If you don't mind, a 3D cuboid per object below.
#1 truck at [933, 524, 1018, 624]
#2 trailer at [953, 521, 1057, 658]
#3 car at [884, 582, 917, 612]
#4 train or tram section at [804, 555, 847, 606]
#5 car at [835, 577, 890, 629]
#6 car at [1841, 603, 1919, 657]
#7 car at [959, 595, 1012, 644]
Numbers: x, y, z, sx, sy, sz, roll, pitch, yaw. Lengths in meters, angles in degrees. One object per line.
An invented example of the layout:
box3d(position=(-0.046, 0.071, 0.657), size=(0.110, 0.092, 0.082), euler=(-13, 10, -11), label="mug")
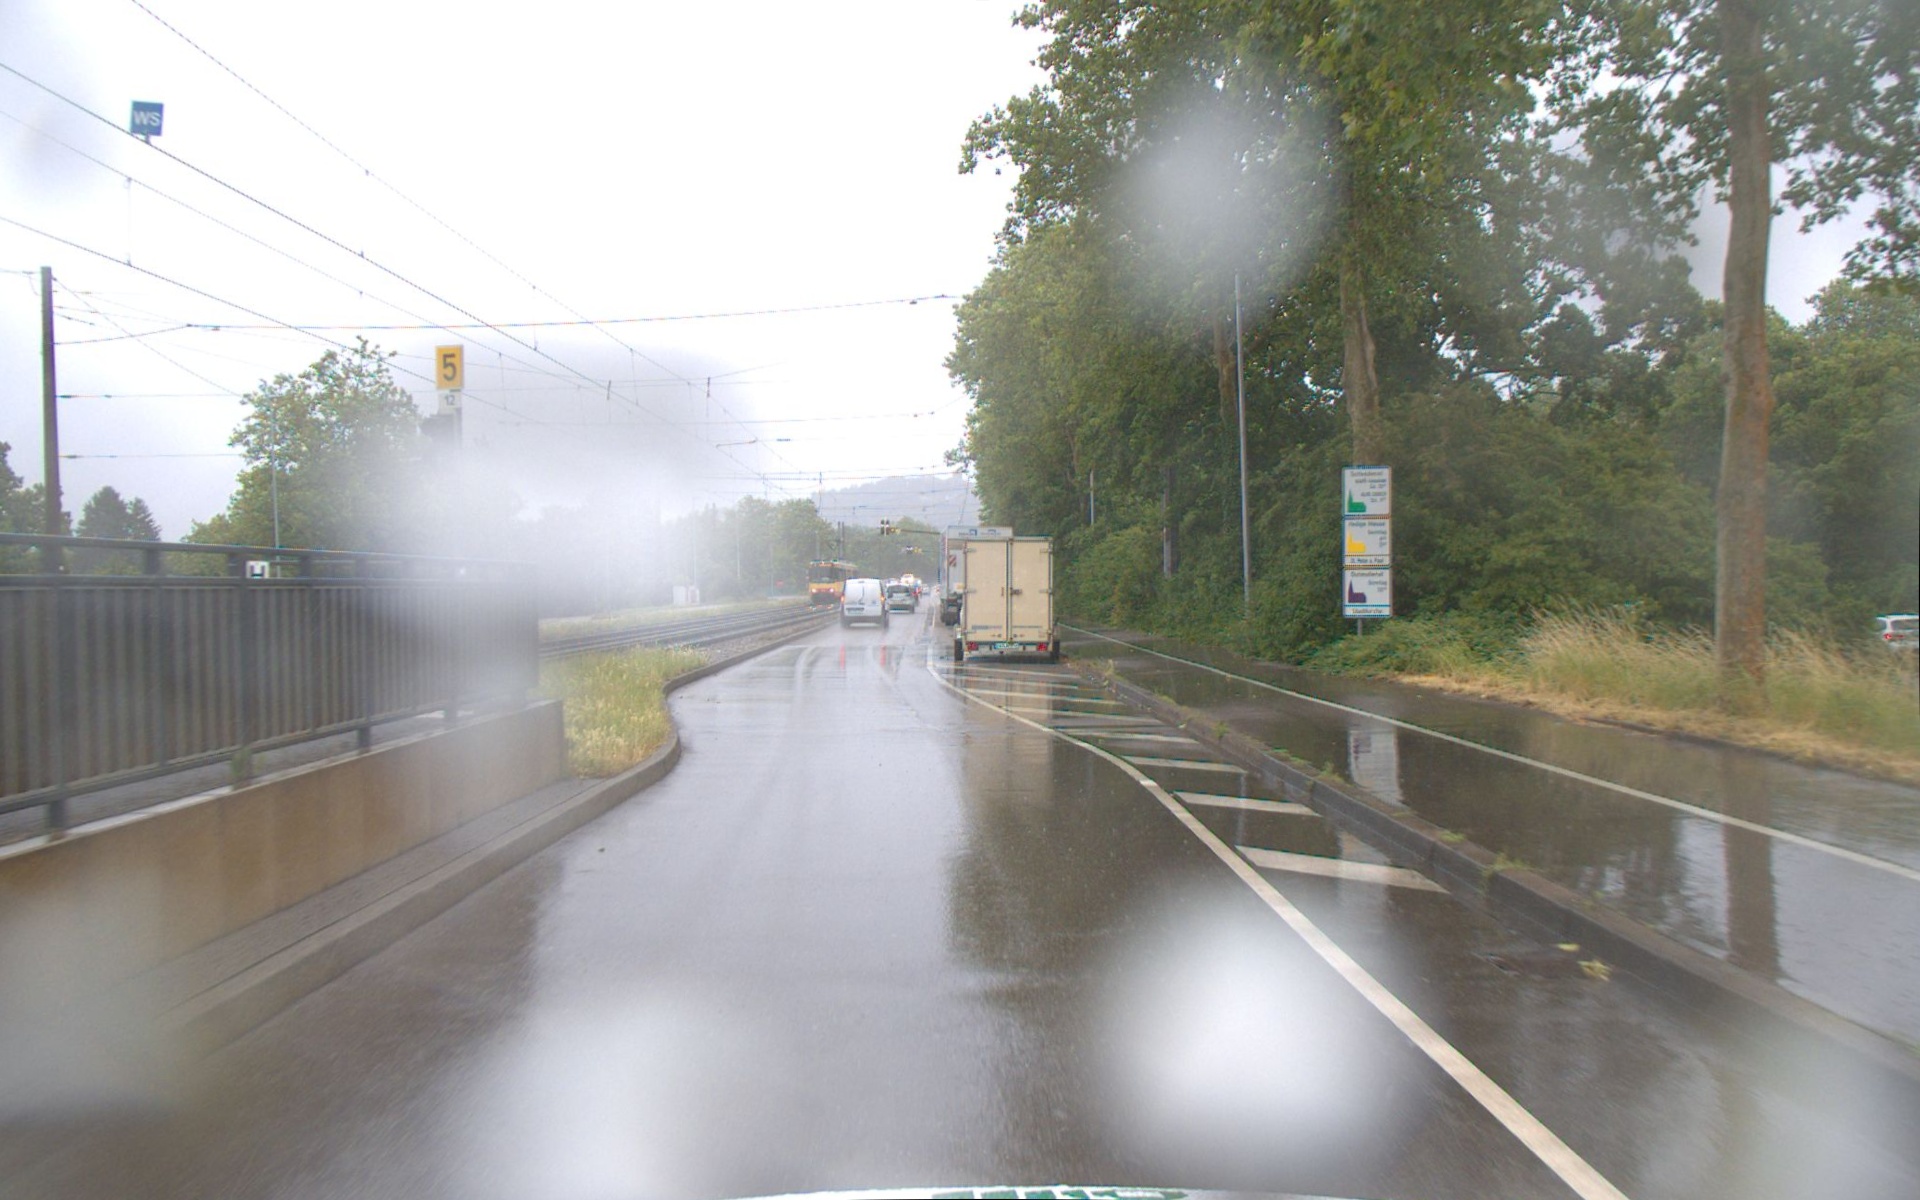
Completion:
box3d(position=(0.519, -0.973, 68.041), size=(2.721, 3.769, 9.844), euler=(0, 0, -4), label="truck")
box3d(position=(1.010, -0.196, 36.885), size=(2.121, 2.806, 5.677), euler=(0, 0, 2), label="trailer")
box3d(position=(-3.328, -0.158, 93.166), size=(1.750, 1.671, 3.967), euler=(0, 0, -1), label="car")
box3d(position=(-11.533, -1.653, 142.642), size=(2.749, 4.222, 13.018), euler=(0, 0, 0), label="train or tram section")
box3d(position=(-3.711, 0.115, 62.439), size=(1.954, 1.881, 3.996), euler=(-1, 0, -5), label="car")
box3d(position=(27.652, 0.859, 48.874), size=(1.848, 1.456, 4.004), euler=(-1, 0, 13), label="car")
box3d(position=(0.863, 0.622, 55.120), size=(1.678, 1.555, 4.001), euler=(-1, 0, 1), label="car")
